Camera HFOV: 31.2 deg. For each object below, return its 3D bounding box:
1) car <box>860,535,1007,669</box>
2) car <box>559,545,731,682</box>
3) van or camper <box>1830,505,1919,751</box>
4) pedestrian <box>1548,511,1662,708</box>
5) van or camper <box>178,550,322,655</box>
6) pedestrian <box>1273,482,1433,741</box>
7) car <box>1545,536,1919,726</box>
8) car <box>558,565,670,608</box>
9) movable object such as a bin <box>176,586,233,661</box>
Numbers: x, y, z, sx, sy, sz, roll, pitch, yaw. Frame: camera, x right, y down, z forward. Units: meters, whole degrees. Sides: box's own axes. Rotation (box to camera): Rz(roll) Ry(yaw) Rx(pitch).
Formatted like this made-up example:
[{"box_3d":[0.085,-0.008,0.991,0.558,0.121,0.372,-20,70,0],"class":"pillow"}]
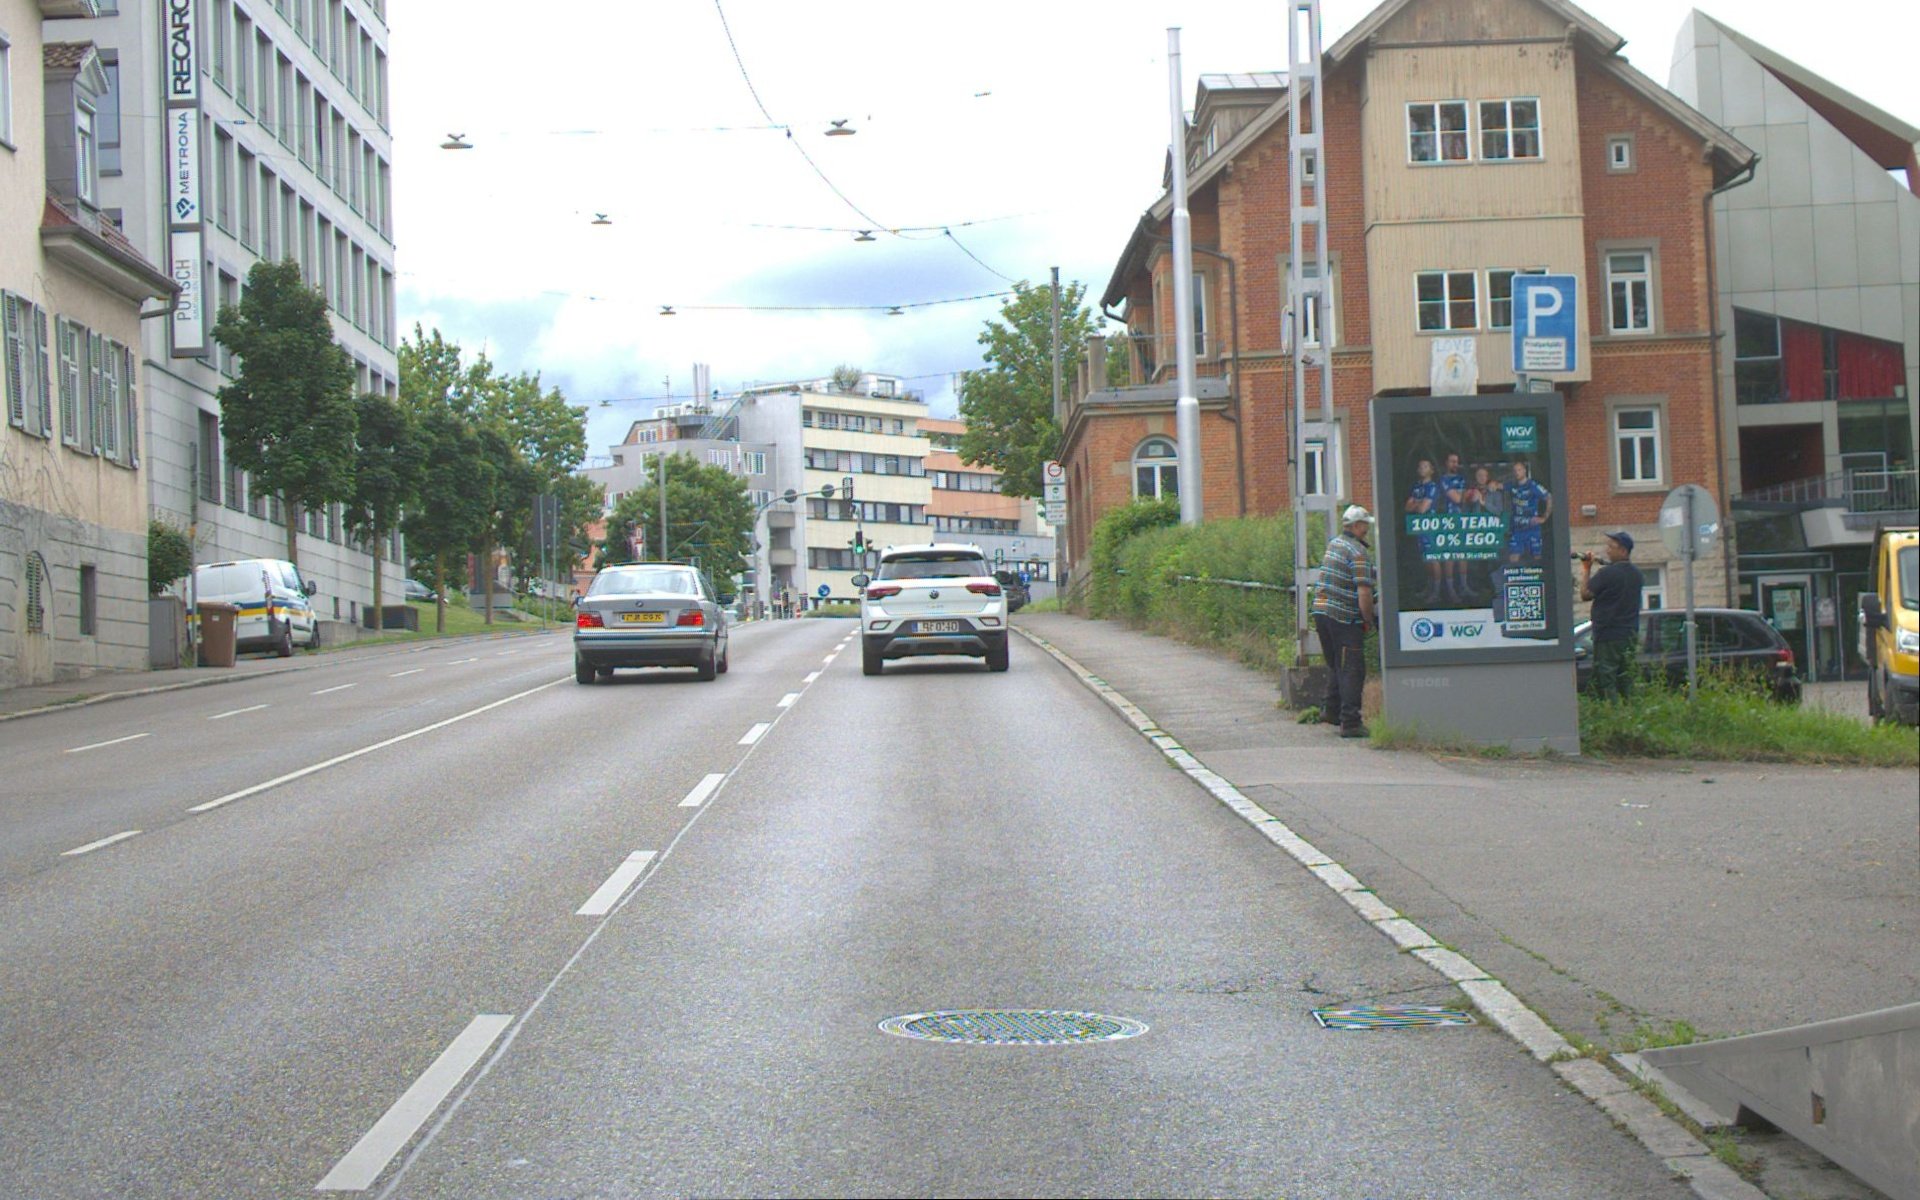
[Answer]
[{"box_3d":[-0.333,-0.010,42.472,1.699,1.543,3.736,1,1,-1],"class":"car"},{"box_3d":[-3.717,0.126,41.033,1.700,1.511,3.736,-2,1,-1],"class":"car"},{"box_3d":[10.550,0.163,36.025,2.217,2.322,6.177,-3,1,10],"class":"van or camper"},{"box_3d":[5.281,0.076,28.152,0.583,1.566,0.647,-3,1,-25],"class":"pedestrian"},{"box_3d":[-14.243,0.019,69.208,2.060,1.961,4.873,-2,1,-3],"class":"van or camper"},{"box_3d":[2.953,0.076,25.894,0.812,1.878,0.949,-3,1,-15],"class":"pedestrian"},{"box_3d":[6.955,0.256,29.762,3.487,1.536,1.577,1,1,1],"class":"car"},{"box_3d":[-13.100,-0.507,130.289,1.780,1.539,3.990,-2,0,44],"class":"car"},{"box_3d":[-12.298,0.375,55.986,0.810,1.185,0.699,2,0,-6],"class":"movable object such as a bin"}]
